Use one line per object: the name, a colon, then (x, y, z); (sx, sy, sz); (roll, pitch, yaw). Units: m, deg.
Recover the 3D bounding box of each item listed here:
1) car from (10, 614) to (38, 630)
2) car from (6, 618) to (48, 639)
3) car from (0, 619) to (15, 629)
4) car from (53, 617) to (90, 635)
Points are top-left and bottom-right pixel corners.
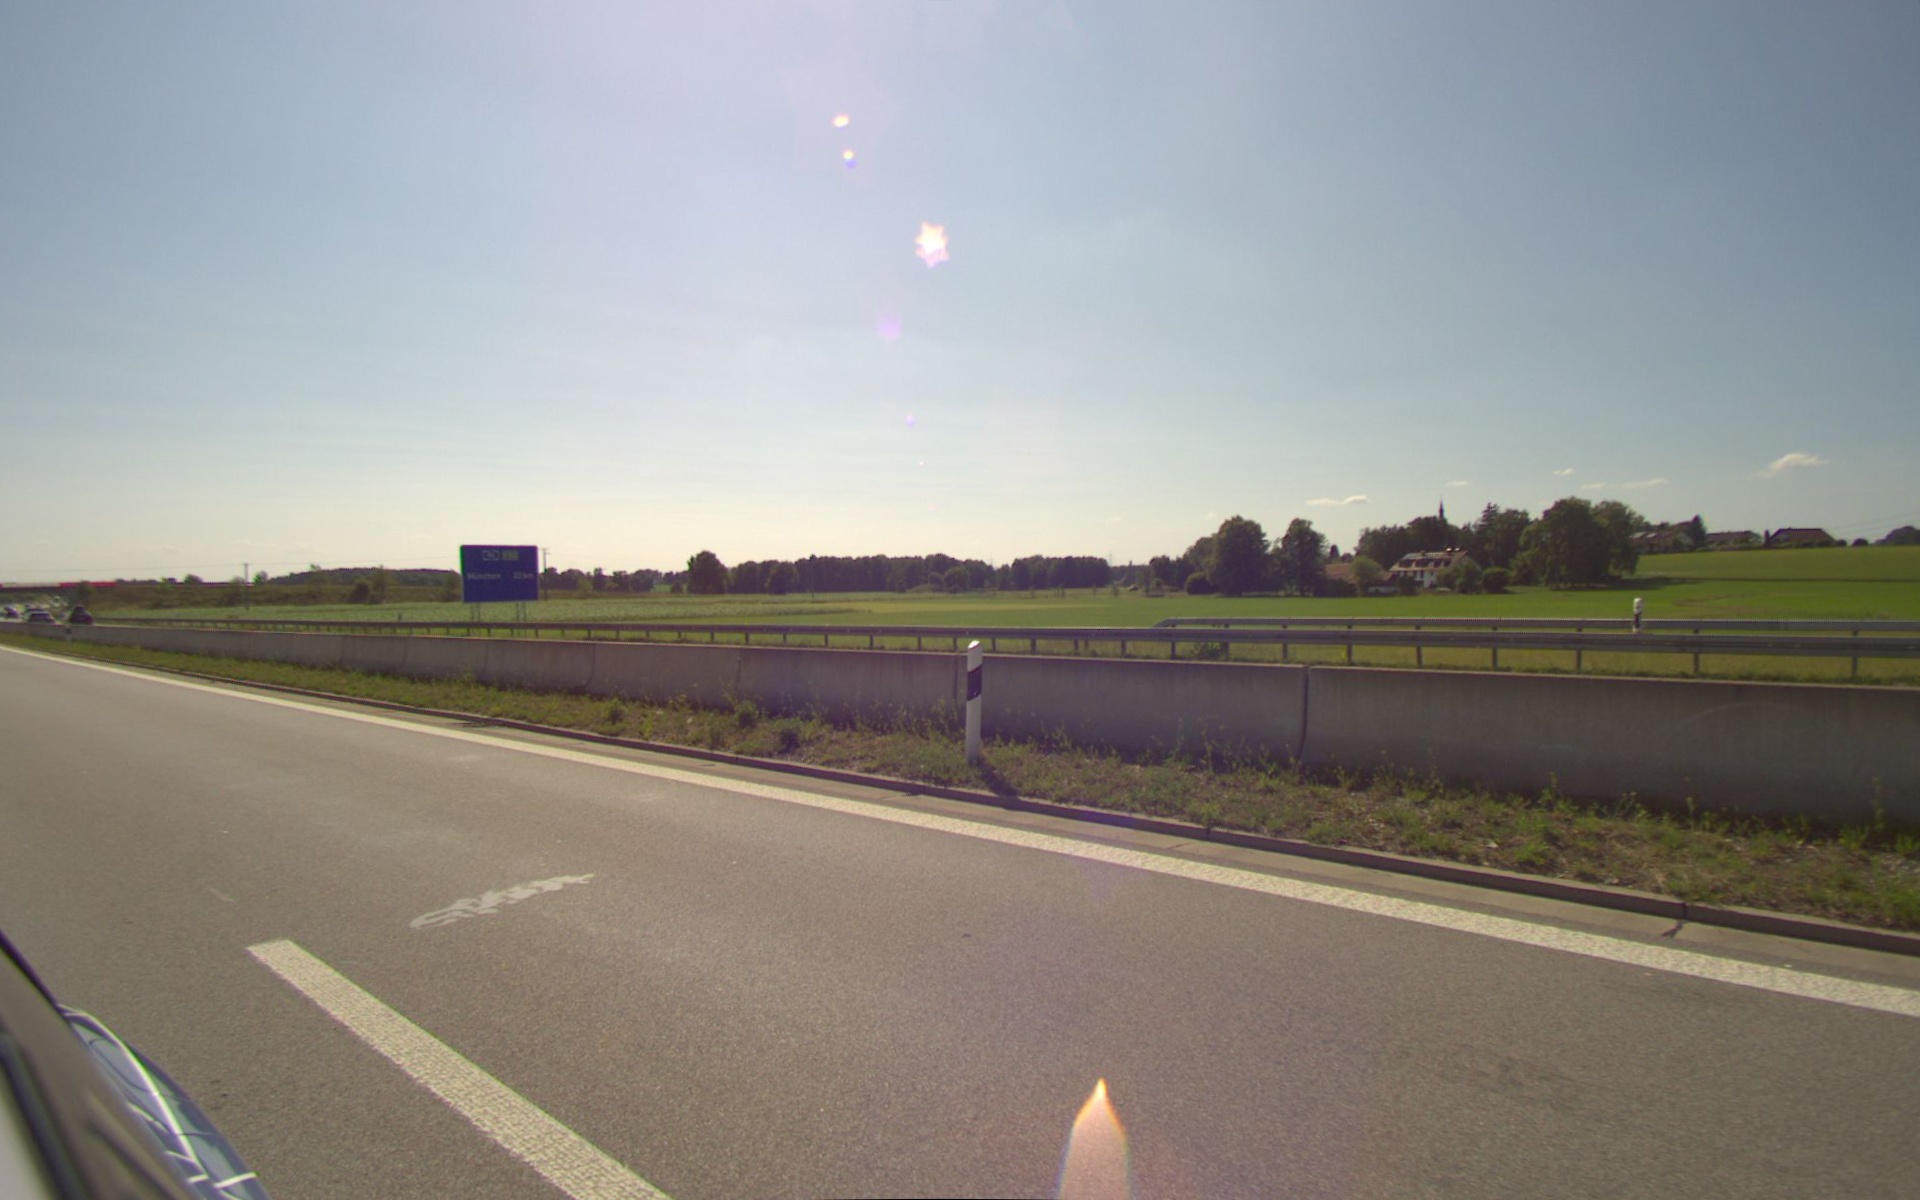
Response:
car: (-110.773, 2.626, 119.732); (5.448, 1.856, 1.933); (-1, -1, 42)
car: (-70.101, 2.131, 75.999); (4.804, 1.535, 1.878); (-1, -1, 42)
car: (-160.374, 4.012, 170.182); (4.914, 1.597, 1.838); (-1, -1, 42)
car: (-79.197, 2.292, 90.177); (4.804, 1.535, 1.878); (-1, -1, 42)
